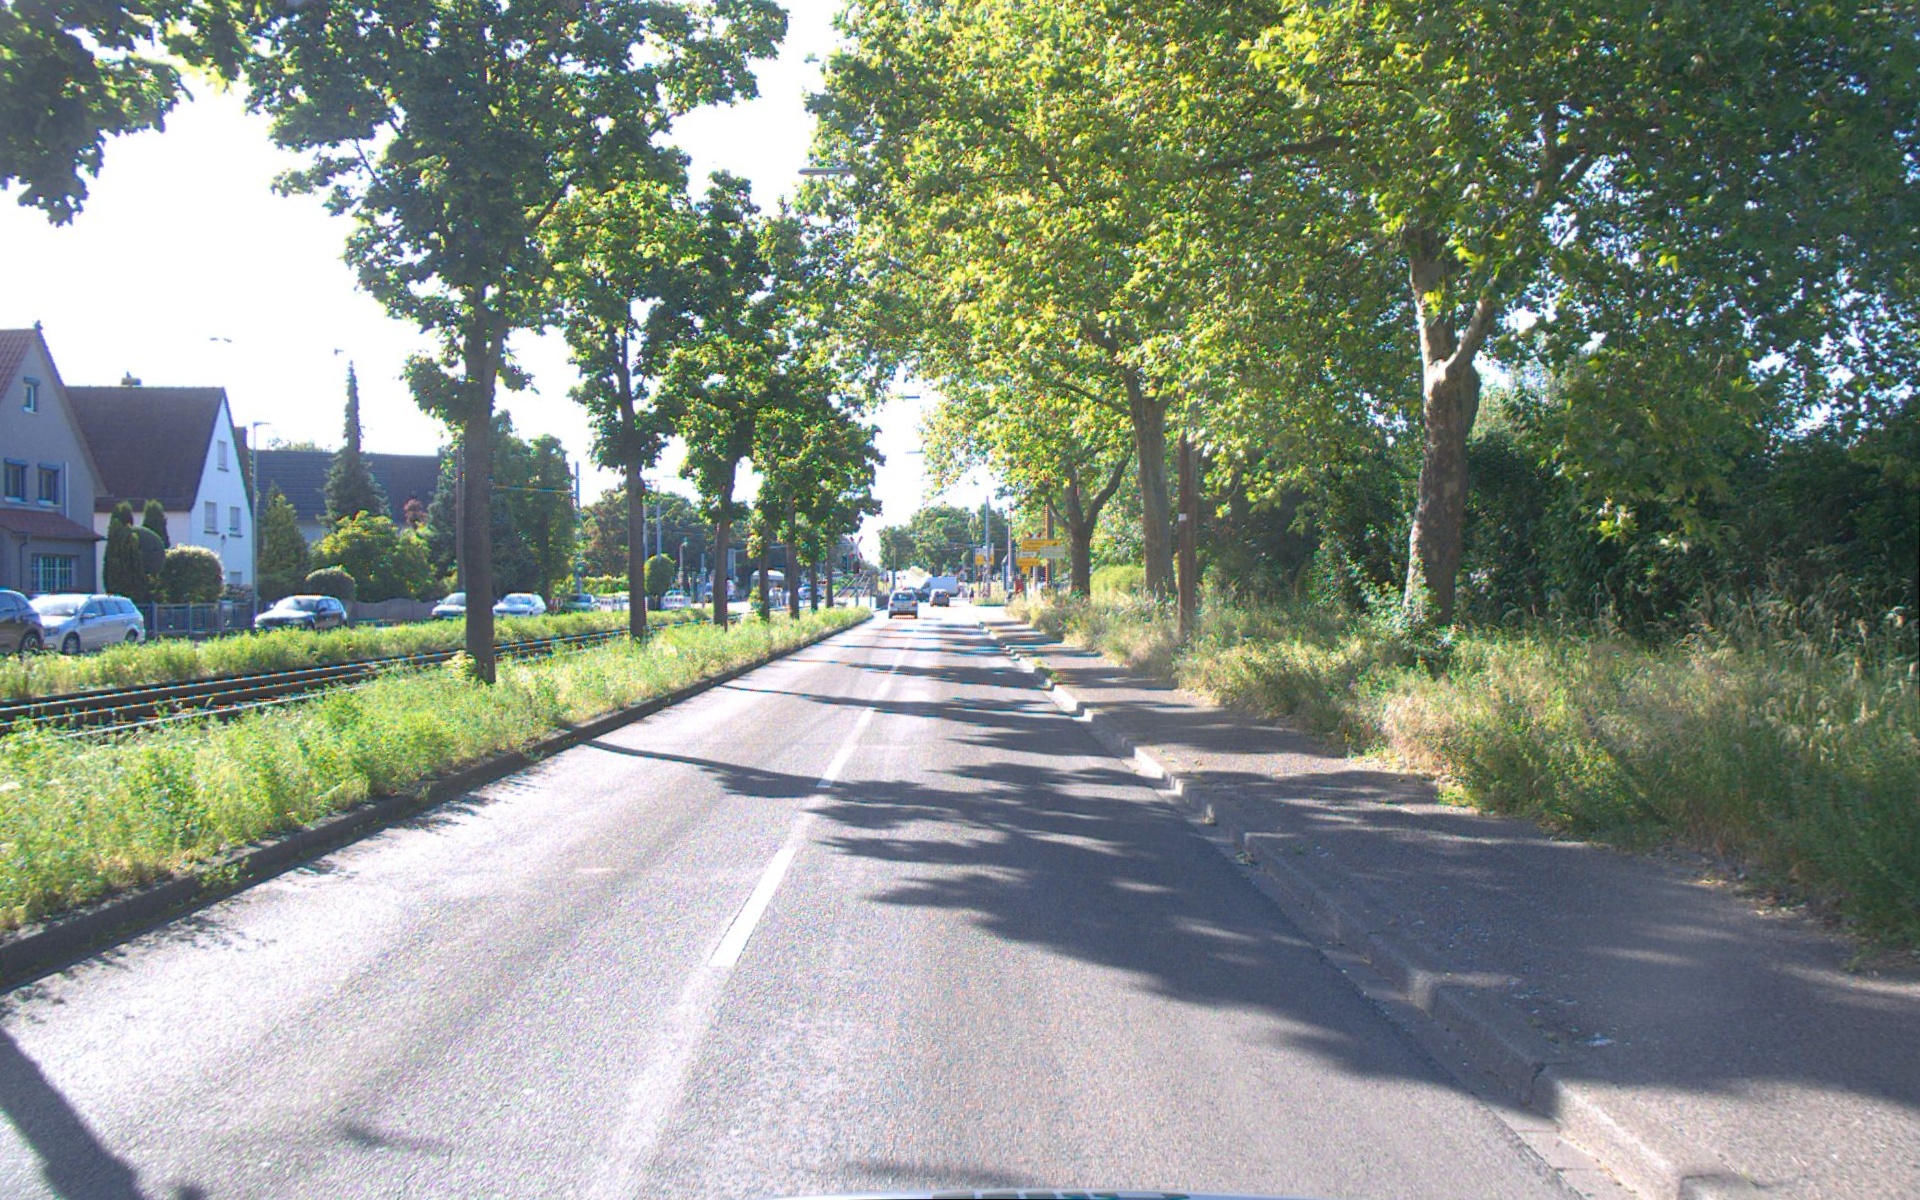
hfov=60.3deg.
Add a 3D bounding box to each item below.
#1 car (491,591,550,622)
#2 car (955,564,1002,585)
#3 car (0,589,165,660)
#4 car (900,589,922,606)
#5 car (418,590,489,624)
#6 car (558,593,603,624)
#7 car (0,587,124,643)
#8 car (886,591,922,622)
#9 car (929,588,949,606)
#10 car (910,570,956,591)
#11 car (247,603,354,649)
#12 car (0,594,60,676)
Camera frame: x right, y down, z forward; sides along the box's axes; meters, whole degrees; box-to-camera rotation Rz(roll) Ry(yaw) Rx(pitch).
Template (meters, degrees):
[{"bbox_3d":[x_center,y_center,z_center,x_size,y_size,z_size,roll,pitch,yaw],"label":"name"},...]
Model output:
[{"bbox_3d":[-21.721,0.299,81.911,1.822,1.456,4.461,1,0,-1],"label":"car"},{"bbox_3d":[2.152,-2.906,190.837,5.083,2.315,1.985,1,0,-25],"label":"car"},{"bbox_3d":[-21.180,0.543,39.649,1.953,1.572,4.780,1,0,0],"label":"car"},{"bbox_3d":[-4.657,-0.230,157.692,1.953,1.631,4.472,1,0,-1],"label":"car"},{"bbox_3d":[-21.963,0.287,71.870,1.822,1.438,4.157,1,0,-1],"label":"car"},{"bbox_3d":[-22.223,0.490,96.960,1.742,1.737,4.227,1,0,-1],"label":"car"},{"bbox_3d":[-26.785,0.423,48.235,3.838,1.478,1.888,1,2,-1],"label":"car"},{"bbox_3d":[-3.015,0.325,89.542,1.822,1.629,4.227,1,0,-1],"label":"car"},{"bbox_3d":[-1.934,-0.258,152.554,1.755,1.586,4.227,1,0,-1],"label":"car"},{"bbox_3d":[-3.225,-2.283,198.067,5.182,2.396,1.849,1,0,-28],"label":"car"},{"bbox_3d":[-21.337,0.809,53.695,1.822,1.393,4.227,1,0,-1],"label":"car"},{"bbox_3d":[-20.803,0.719,34.394,1.712,1.679,4.554,1,0,-1],"label":"car"}]
